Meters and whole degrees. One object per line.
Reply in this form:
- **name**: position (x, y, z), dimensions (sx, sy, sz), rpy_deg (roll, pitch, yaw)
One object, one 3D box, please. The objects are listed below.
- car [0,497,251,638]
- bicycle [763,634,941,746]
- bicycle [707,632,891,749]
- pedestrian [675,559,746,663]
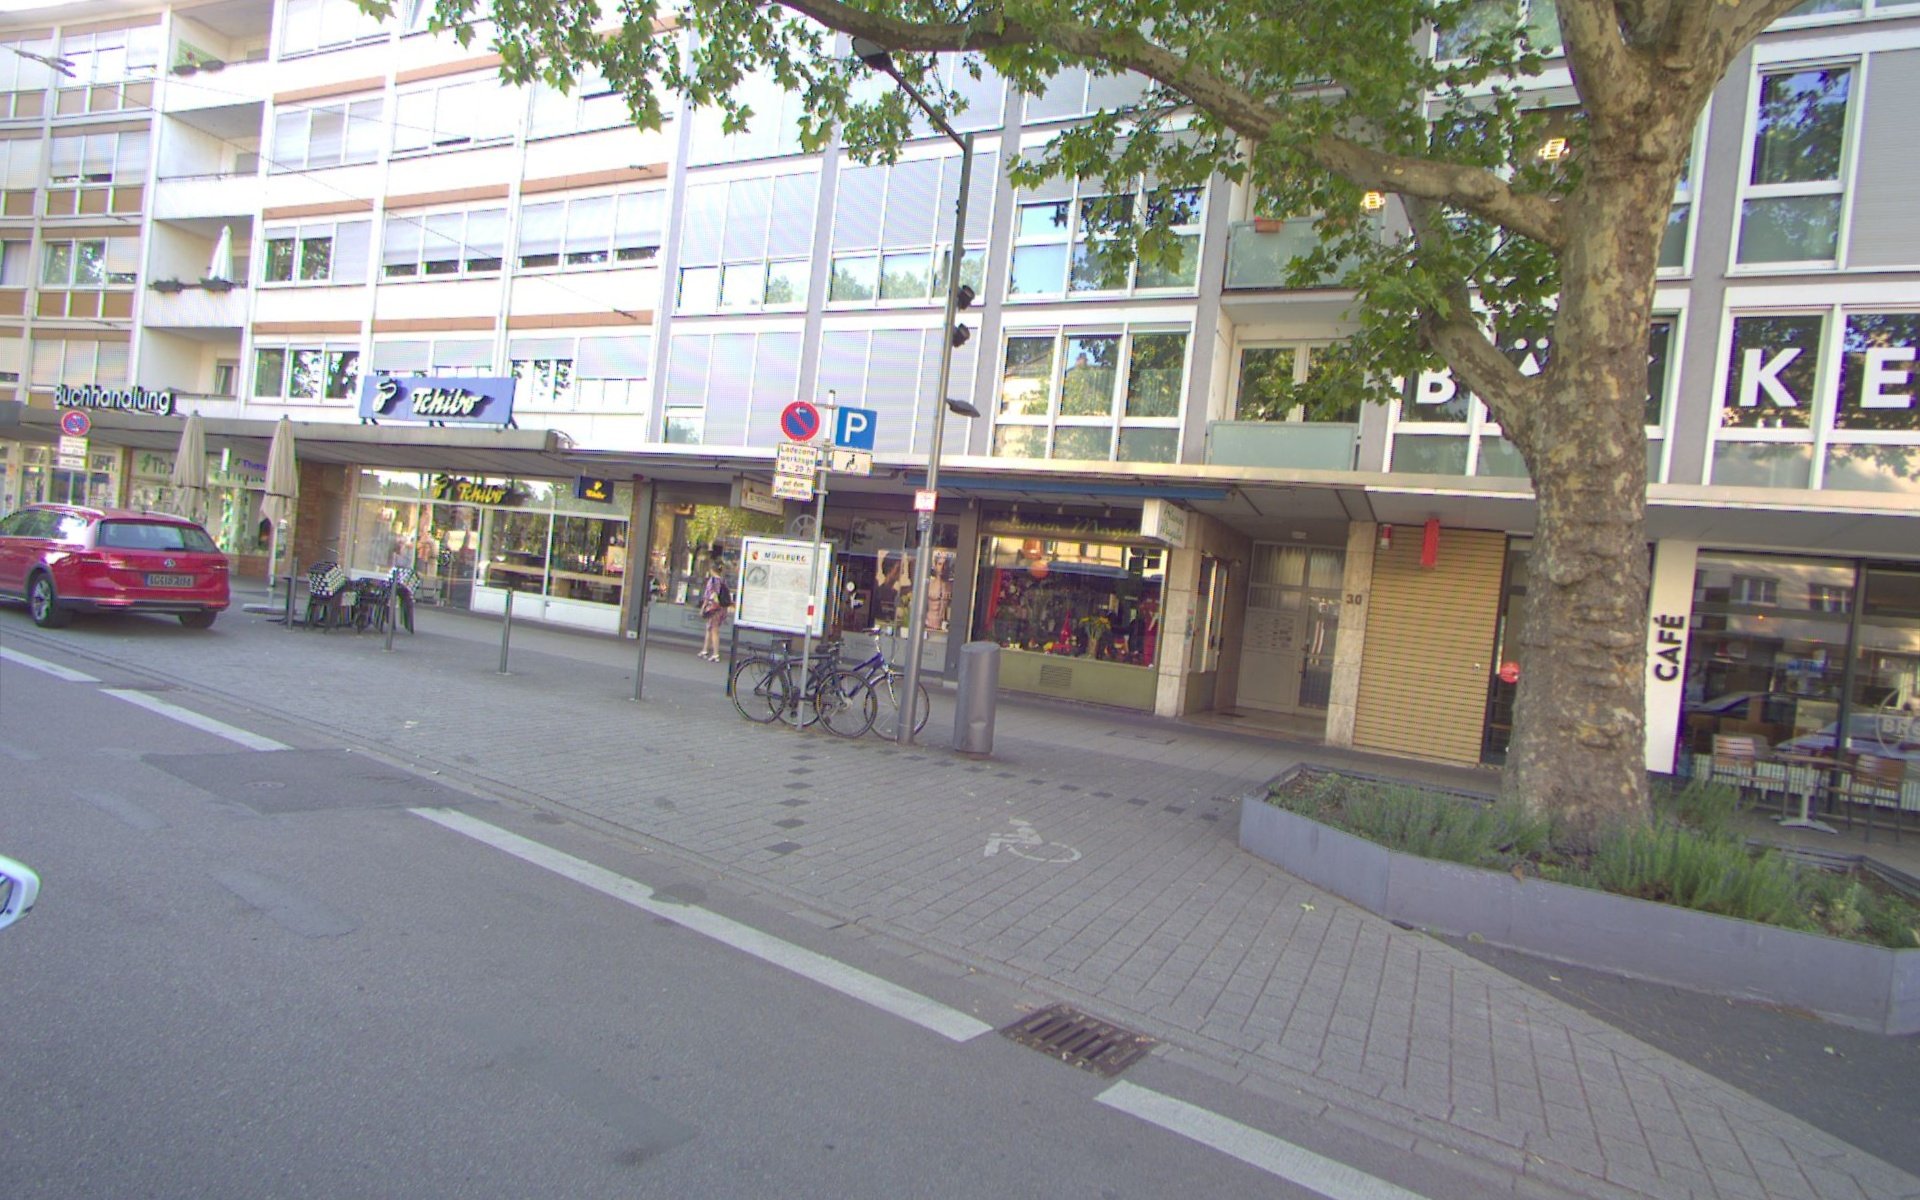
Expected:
- **car**: position (-11.652, -0.491, 13.451), dimensions (4.229, 1.502, 1.772), rpy_deg (6, 1, 28)
- **bicycle**: position (-1.135, 0.923, 10.560), dimensions (1.743, 0.931, 0.391), rpy_deg (6, 2, 12)
- **bicycle**: position (-1.639, 0.902, 10.238), dimensions (1.743, 0.951, 0.391), rpy_deg (6, 2, 12)
- **pedestrian**: position (-4.112, 0.182, 16.587), dimensions (0.776, 1.613, 0.651), rpy_deg (7, 2, 26)
